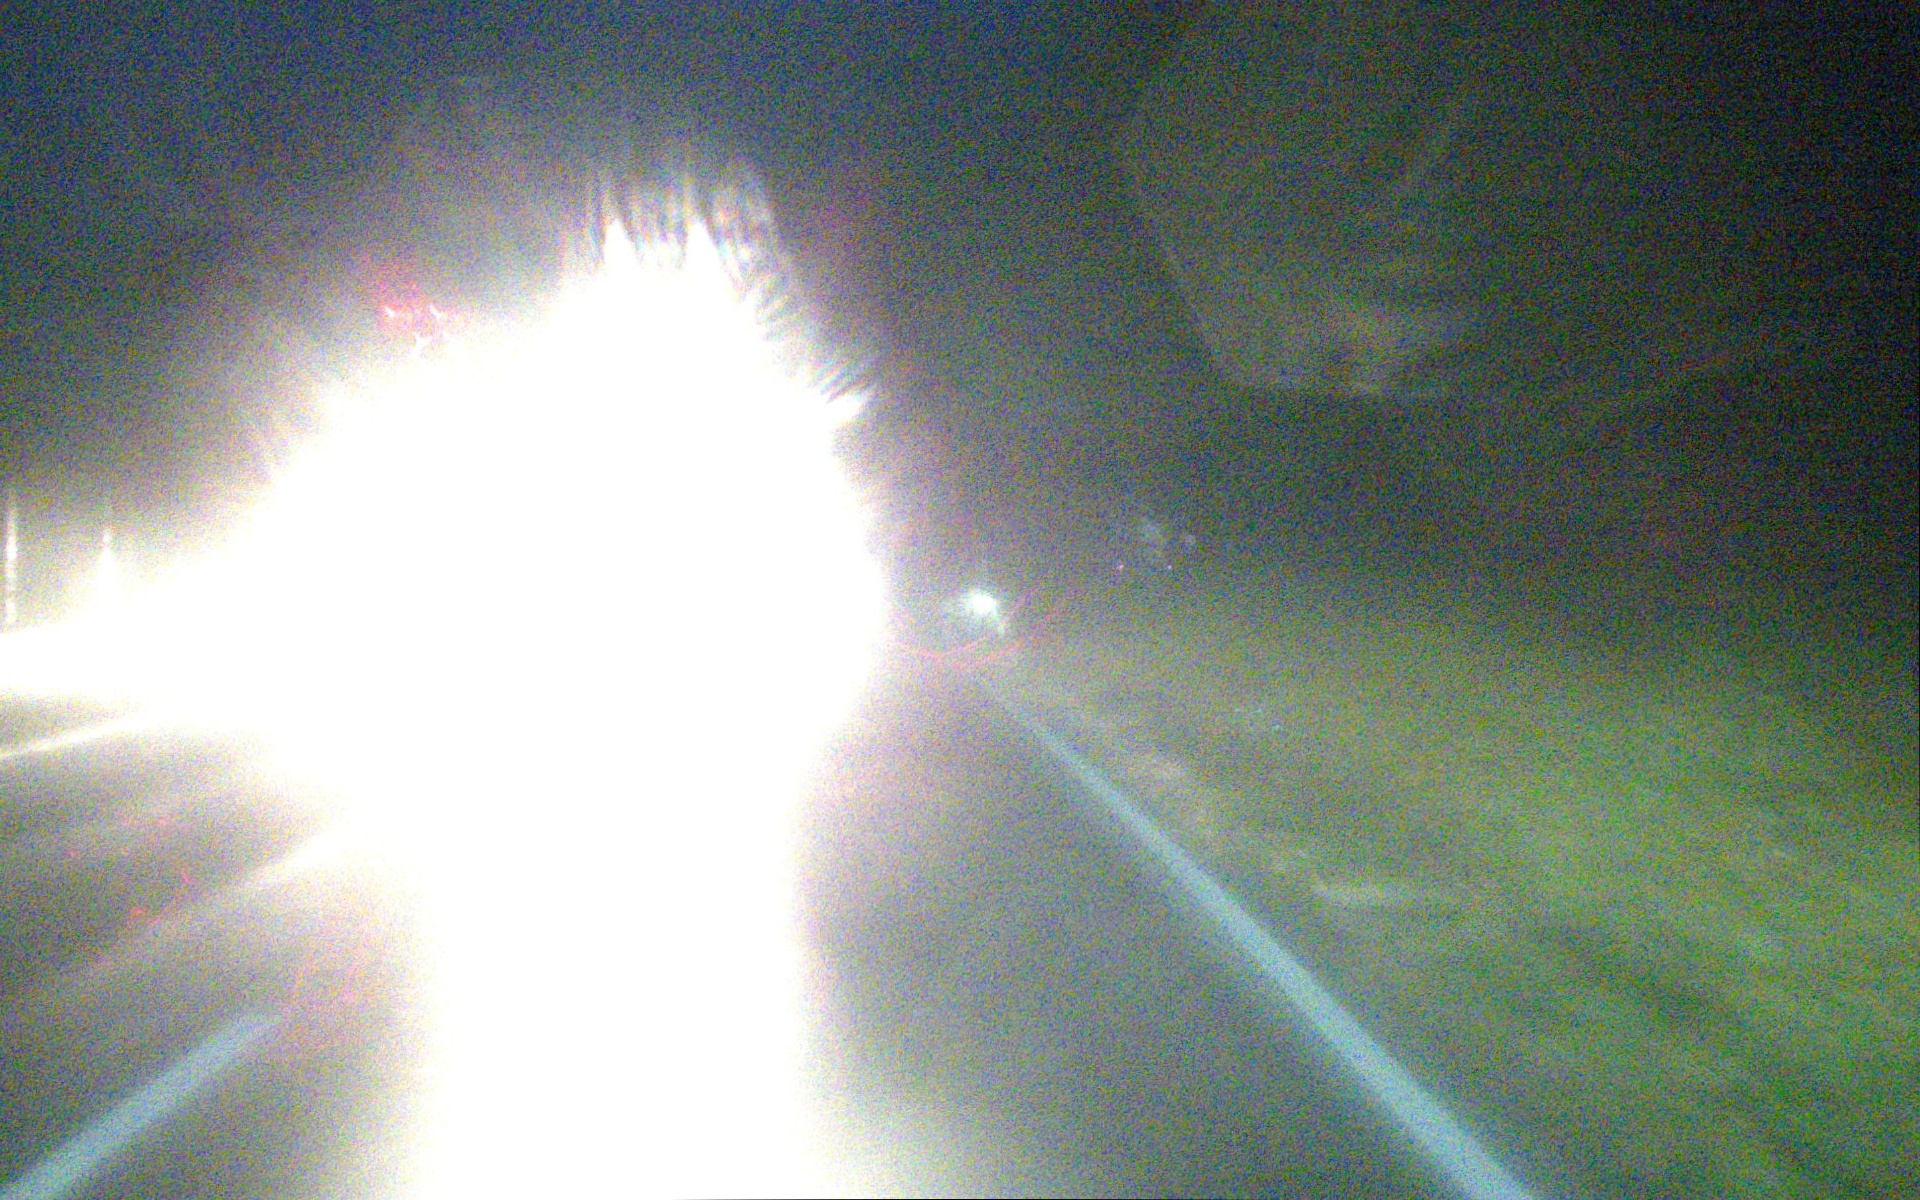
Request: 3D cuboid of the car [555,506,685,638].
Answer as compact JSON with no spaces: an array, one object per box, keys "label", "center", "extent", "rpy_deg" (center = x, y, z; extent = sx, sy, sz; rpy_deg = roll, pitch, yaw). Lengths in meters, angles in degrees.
[{"label":"car","center":[-6.117,-0.540,62.321],"extent":[1.993,2.265,5.468],"rpy_deg":[1,1,-2]}]
